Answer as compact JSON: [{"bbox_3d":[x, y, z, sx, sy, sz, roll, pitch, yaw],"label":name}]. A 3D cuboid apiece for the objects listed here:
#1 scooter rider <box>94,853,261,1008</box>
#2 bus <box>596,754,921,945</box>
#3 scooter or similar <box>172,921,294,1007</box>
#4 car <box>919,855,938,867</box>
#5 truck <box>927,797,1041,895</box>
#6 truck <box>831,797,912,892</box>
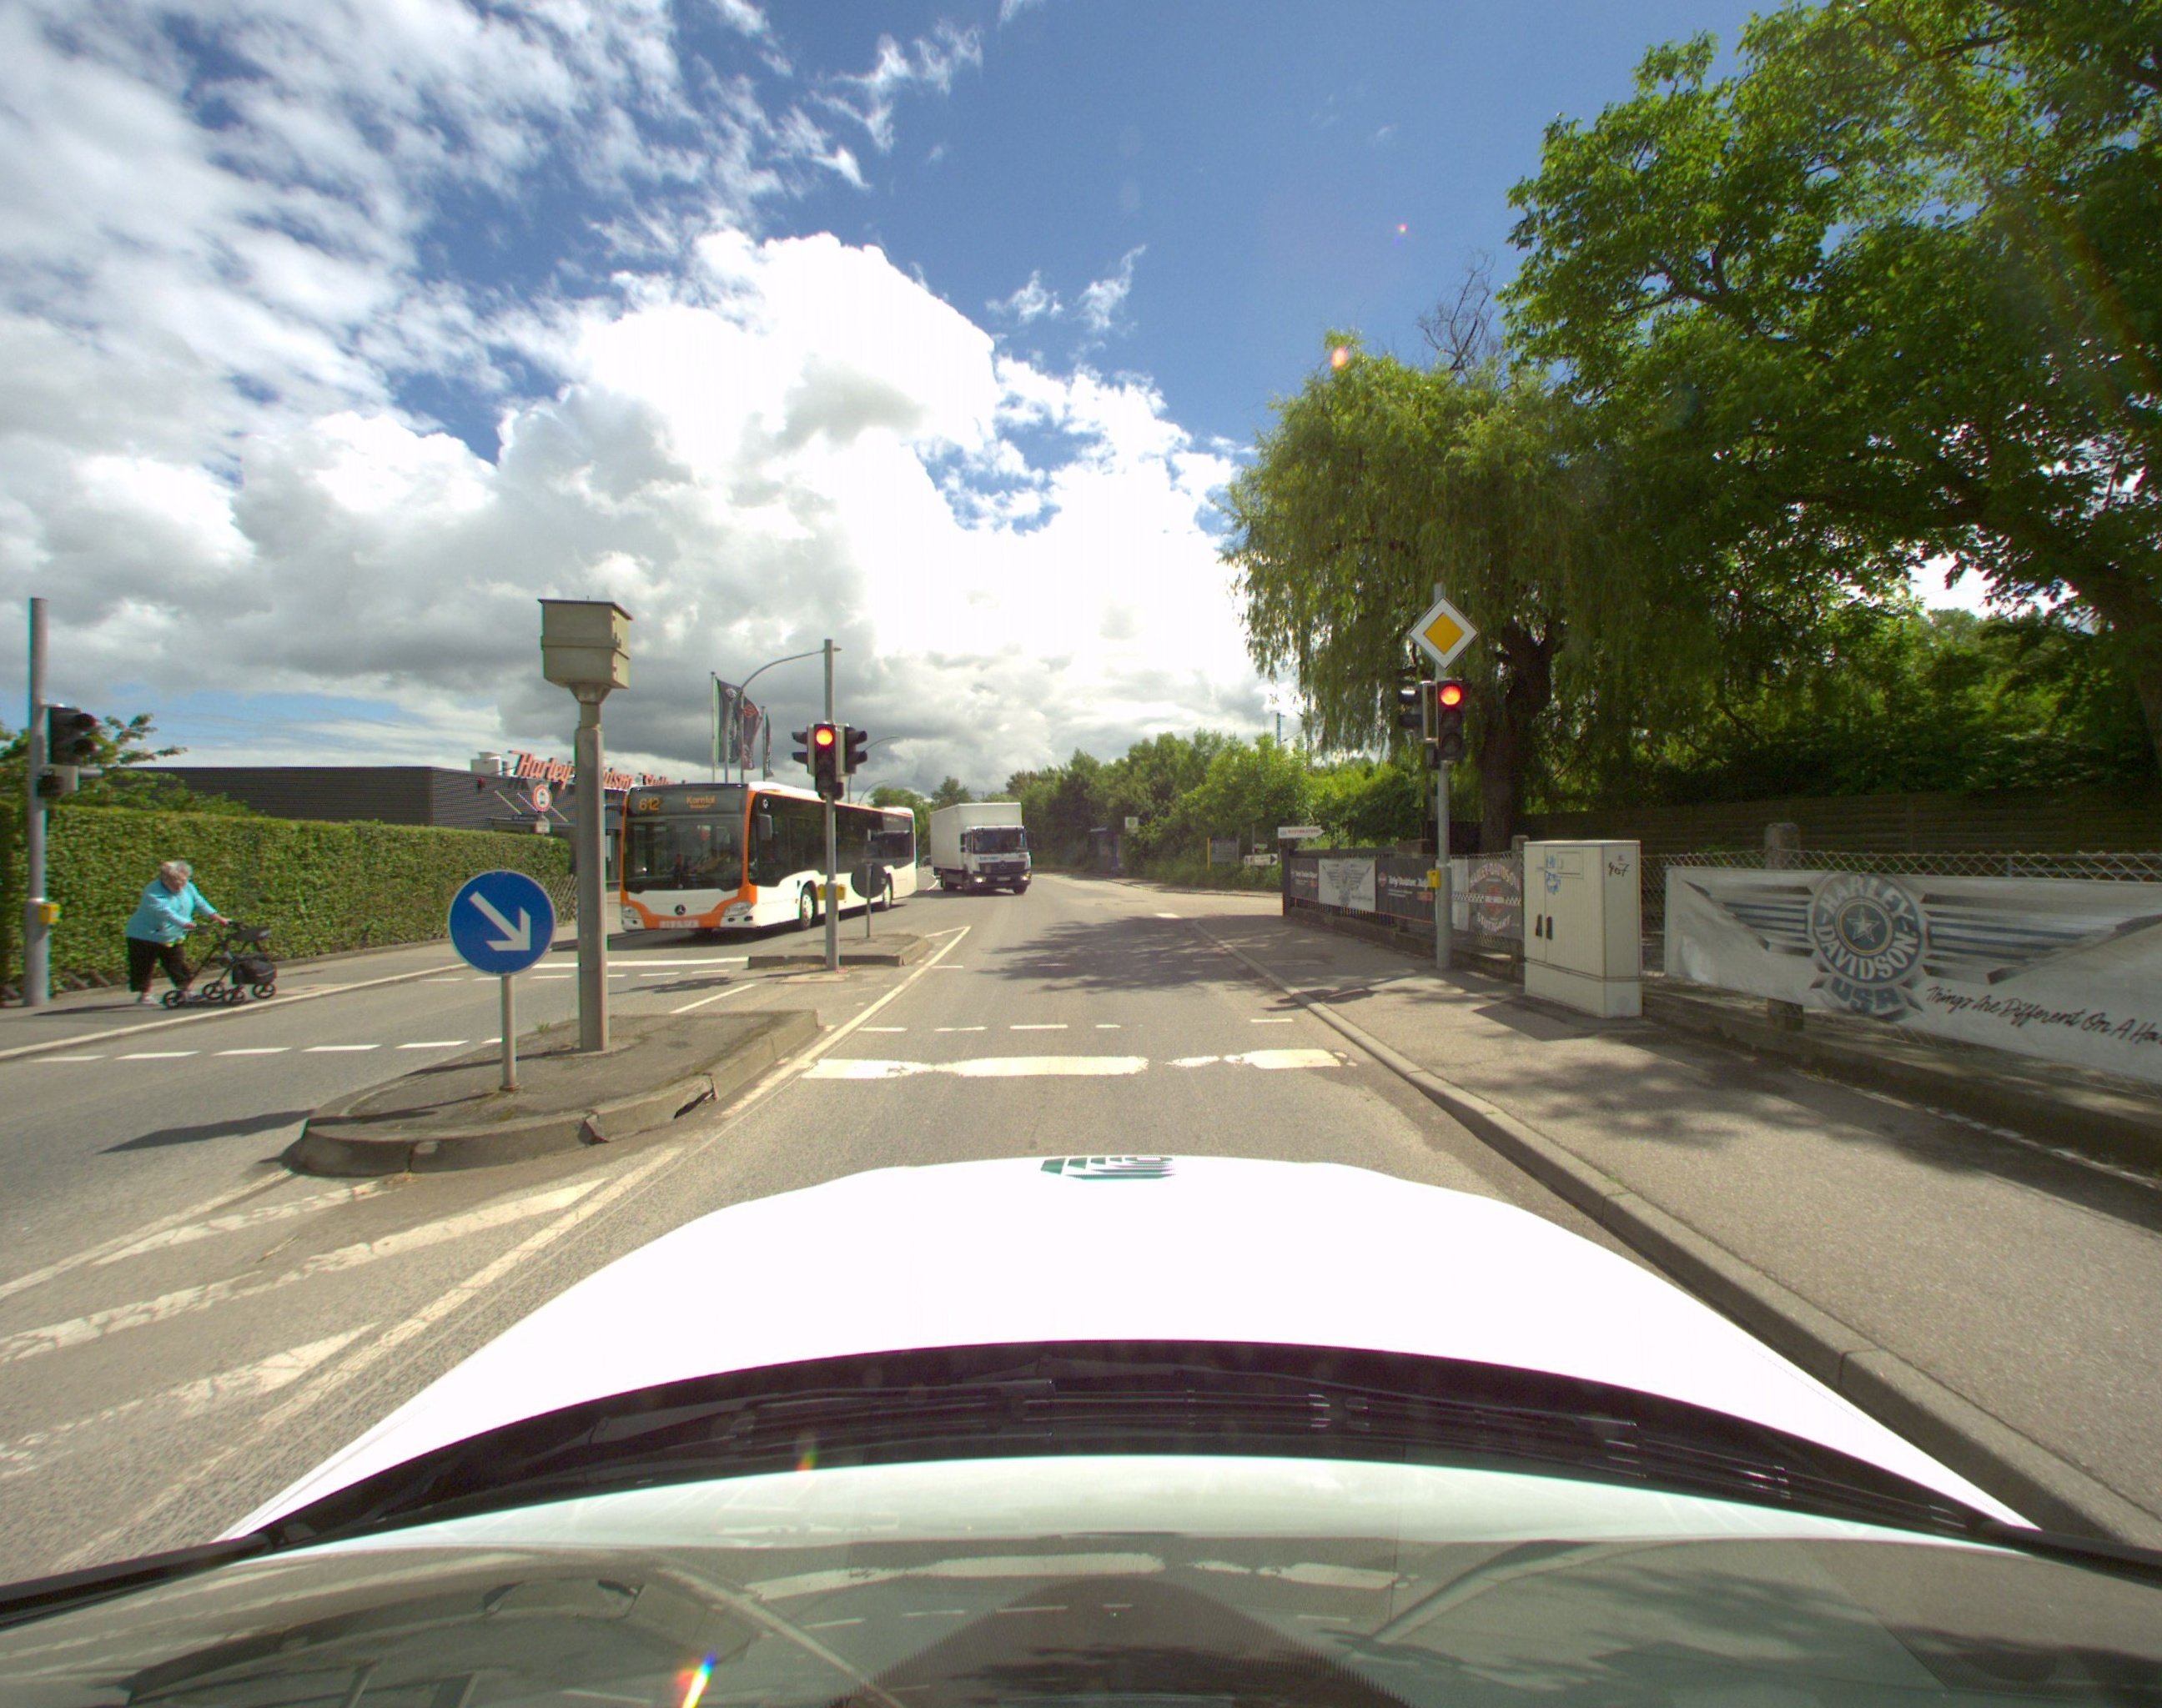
[{"bbox_3d":[-9.703,0.787,8.784,0.875,1.589,0.796,1,0,0],"label":"scooter rider"},{"bbox_3d":[-6.864,-0.011,20.365,2.766,3.266,12.130,-2,-1,2],"label":"bus"},{"bbox_3d":[-9.137,1.172,8.799,0.609,0.831,0.659,1,0,0],"label":"scooter or similar"},{"bbox_3d":[-20.675,0.908,110.354,1.891,1.508,3.974,0,0,-19],"label":"car"},{"bbox_3d":[-4.393,-0.297,34.552,2.848,3.541,9.663,-1,0,-19],"label":"truck"},{"bbox_3d":[-10.232,-0.391,40.644,2.425,4.131,9.132,1,-1,-6],"label":"truck"}]
